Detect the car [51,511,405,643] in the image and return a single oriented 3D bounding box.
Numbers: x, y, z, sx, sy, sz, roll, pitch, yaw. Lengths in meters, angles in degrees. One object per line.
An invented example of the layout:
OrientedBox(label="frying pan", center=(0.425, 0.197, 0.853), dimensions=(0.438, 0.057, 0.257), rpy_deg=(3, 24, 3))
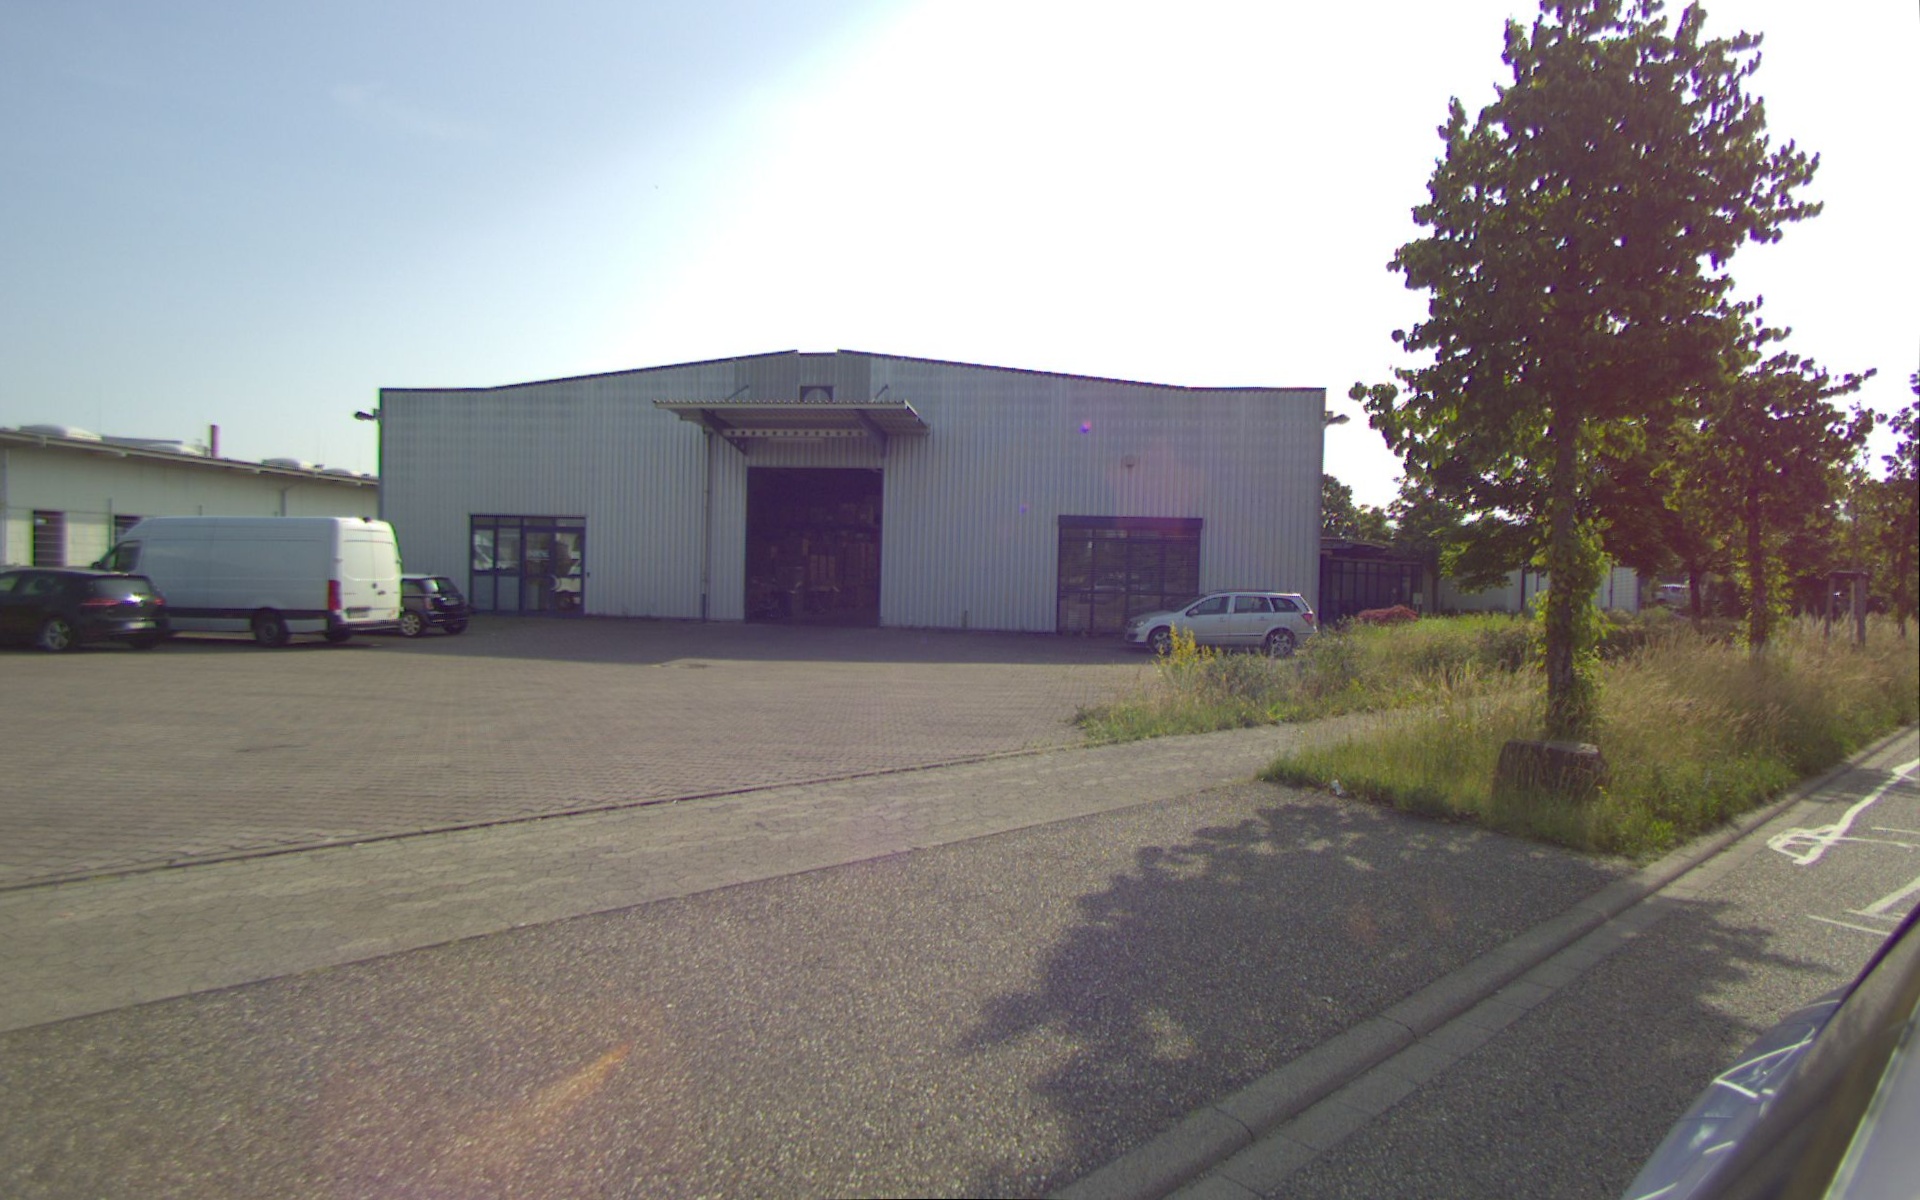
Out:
OrientedBox(label="car", center=(-15.133, -0.499, 21.043), dimensions=(6.451, 2.557, 2.002), rpy_deg=(1, 1, 9))

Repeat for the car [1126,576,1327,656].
OrientedBox(label="car", center=(6.152, 0.336, 23.834), dimensions=(4.284, 1.581, 1.758), rpy_deg=(2, 4, 6))

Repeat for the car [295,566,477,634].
OrientedBox(label="car", center=(-13.317, 0.012, 23.584), dimensions=(3.383, 1.490, 1.699), rpy_deg=(-1, 0, 9))

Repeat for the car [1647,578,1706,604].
OrientedBox(label="car", center=(48.135, -0.591, 67.965), dimensions=(3.679, 1.703, 1.603), rpy_deg=(-1, 0, -25))

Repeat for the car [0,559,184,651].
OrientedBox(label="car", center=(-16.340, 0.049, 18.185), dimensions=(3.669, 1.490, 1.755), rpy_deg=(2, 0, 9))
